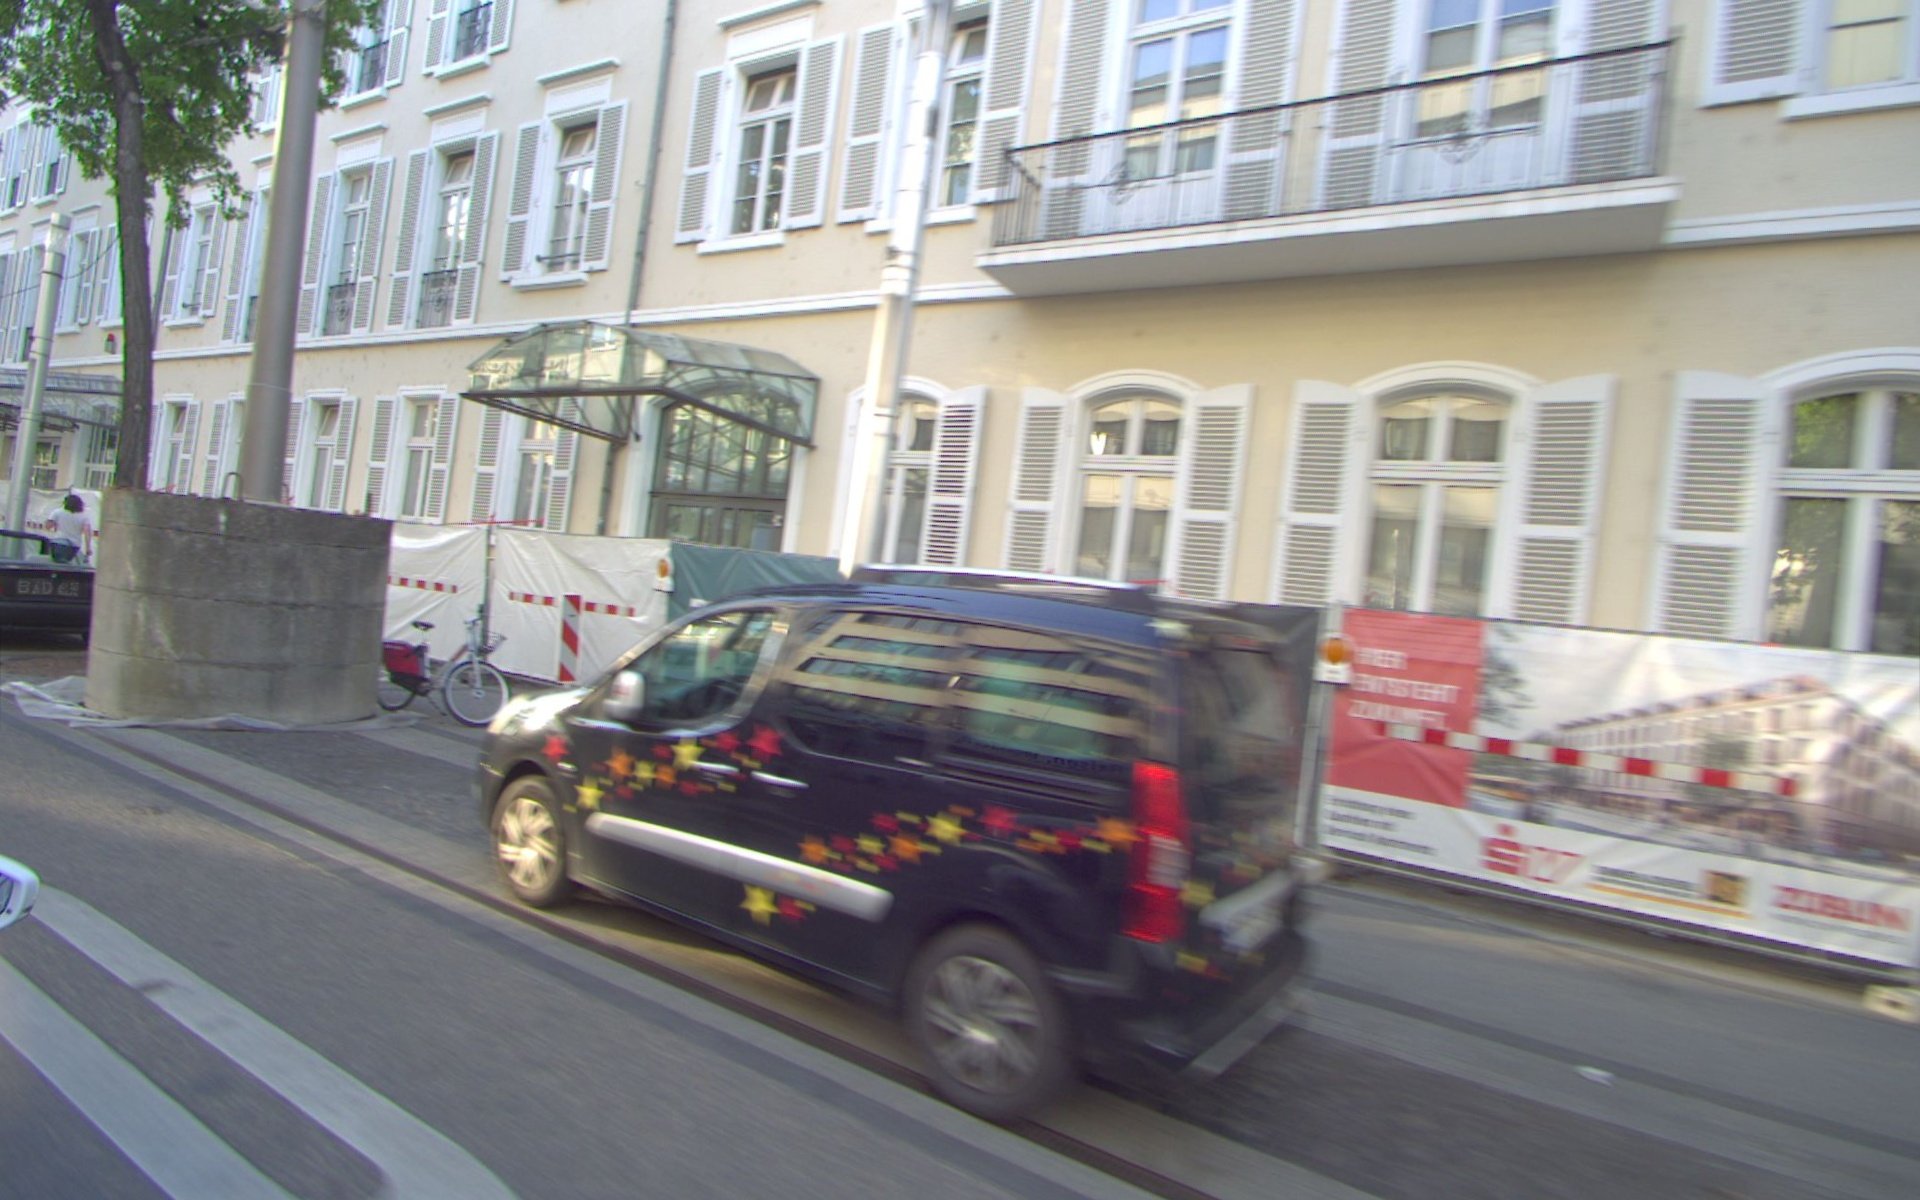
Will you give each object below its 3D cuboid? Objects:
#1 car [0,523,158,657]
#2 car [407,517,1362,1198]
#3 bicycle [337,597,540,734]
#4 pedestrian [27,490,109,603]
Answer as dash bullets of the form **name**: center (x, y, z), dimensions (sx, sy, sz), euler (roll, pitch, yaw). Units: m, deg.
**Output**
- **car**: center (-11.700, -0.245, 12.136), dimensions (4.258, 1.327, 1.796), euler (6, 0, 32)
- **car**: center (-0.570, 0.714, 4.916), dimensions (4.248, 1.815, 1.952), euler (6, 0, 35)
- **bicycle**: center (-5.107, 0.622, 9.883), dimensions (1.642, 1.084, 0.656), euler (7, 1, 12)
- **pedestrian**: center (-16.152, -0.964, 18.217), dimensions (1.035, 1.910, 0.714), euler (6, 0, 32)
